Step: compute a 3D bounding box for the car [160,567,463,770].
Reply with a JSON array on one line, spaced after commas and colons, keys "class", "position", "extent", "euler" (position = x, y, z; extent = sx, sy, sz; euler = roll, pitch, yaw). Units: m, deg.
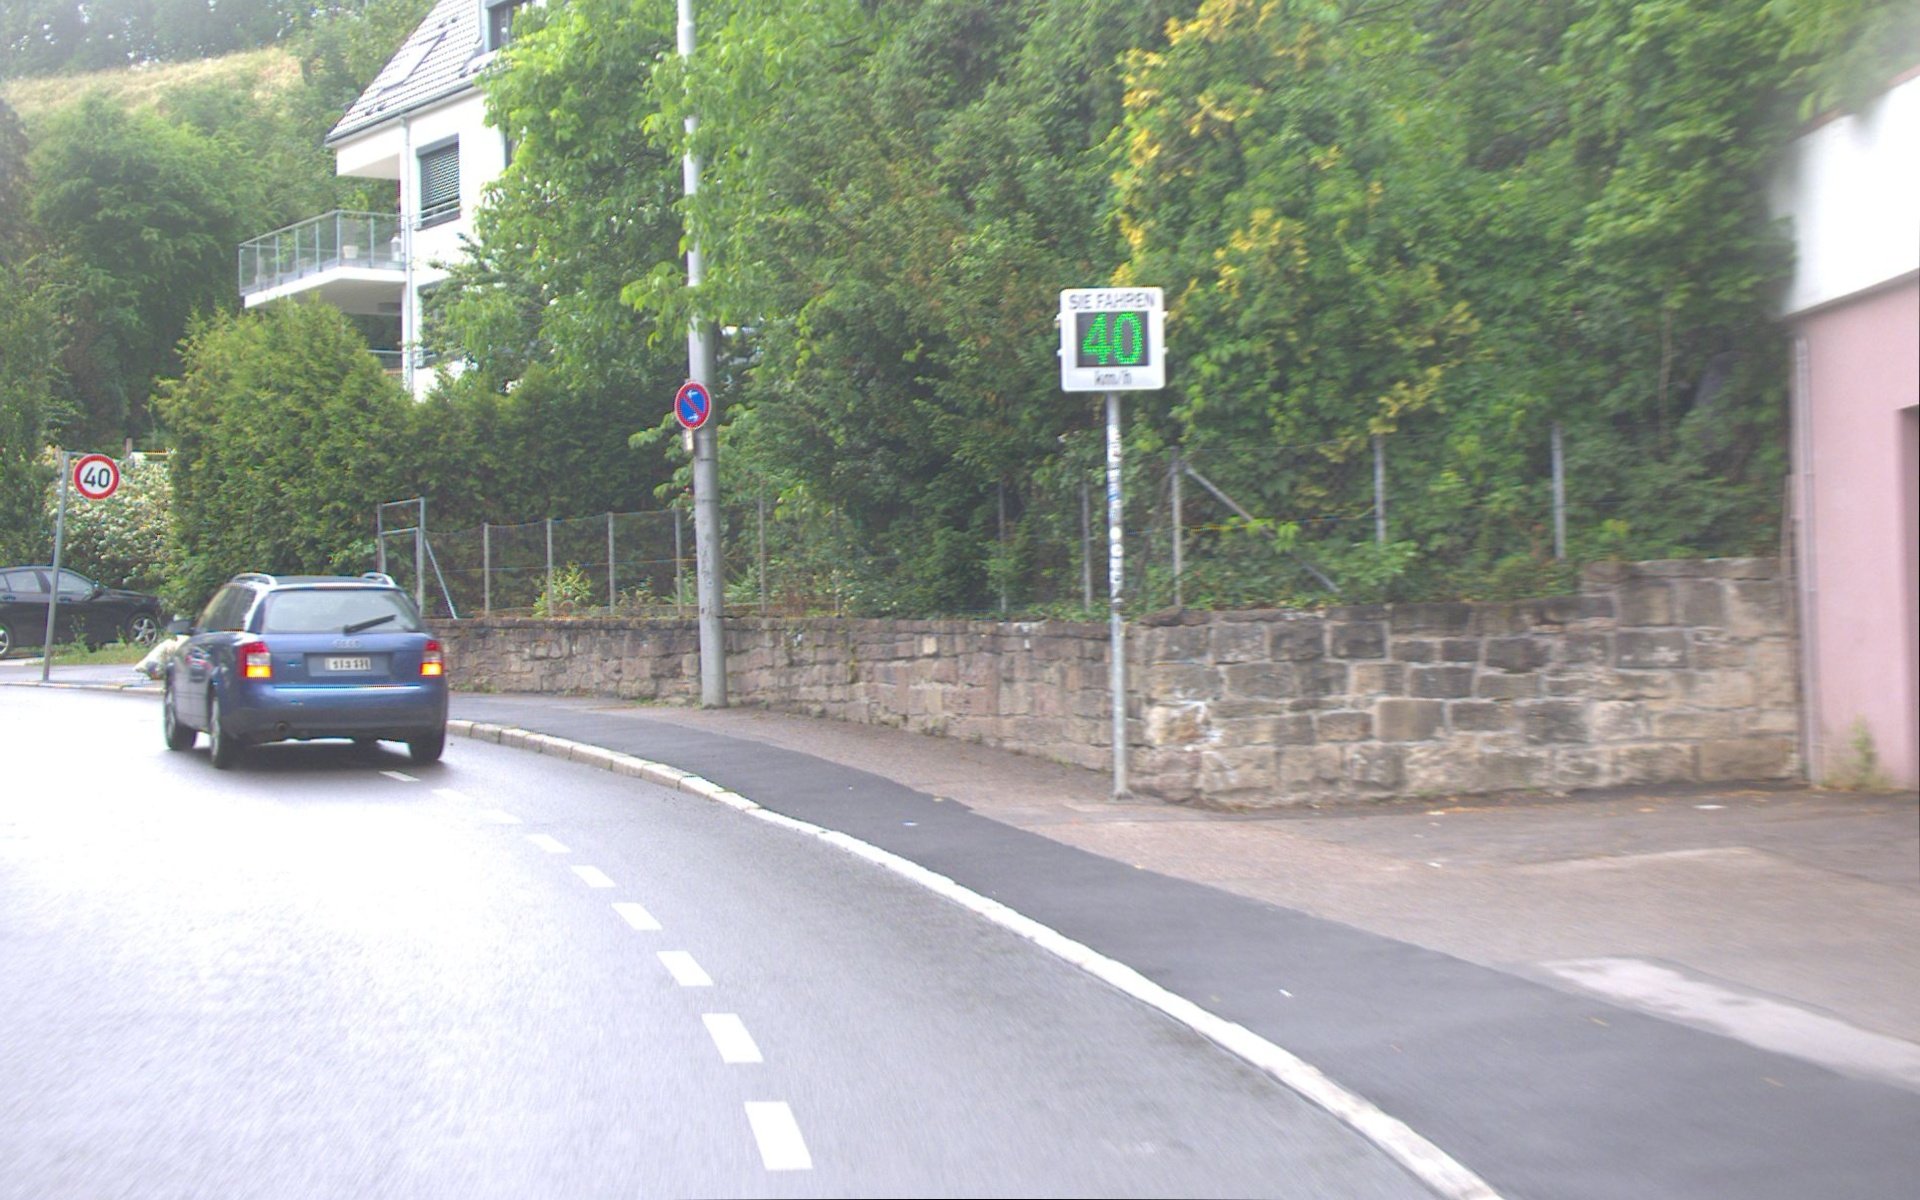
[{"class": "car", "position": [-5.213, 0.471, 27.202], "extent": [1.853, 1.409, 4.363], "euler": [-1, 1, -17]}]

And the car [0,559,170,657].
[{"class": "car", "position": [-14.780, 0.115, 54.520], "extent": [1.739, 1.503, 4.172], "euler": [0, 1, 41]}]
